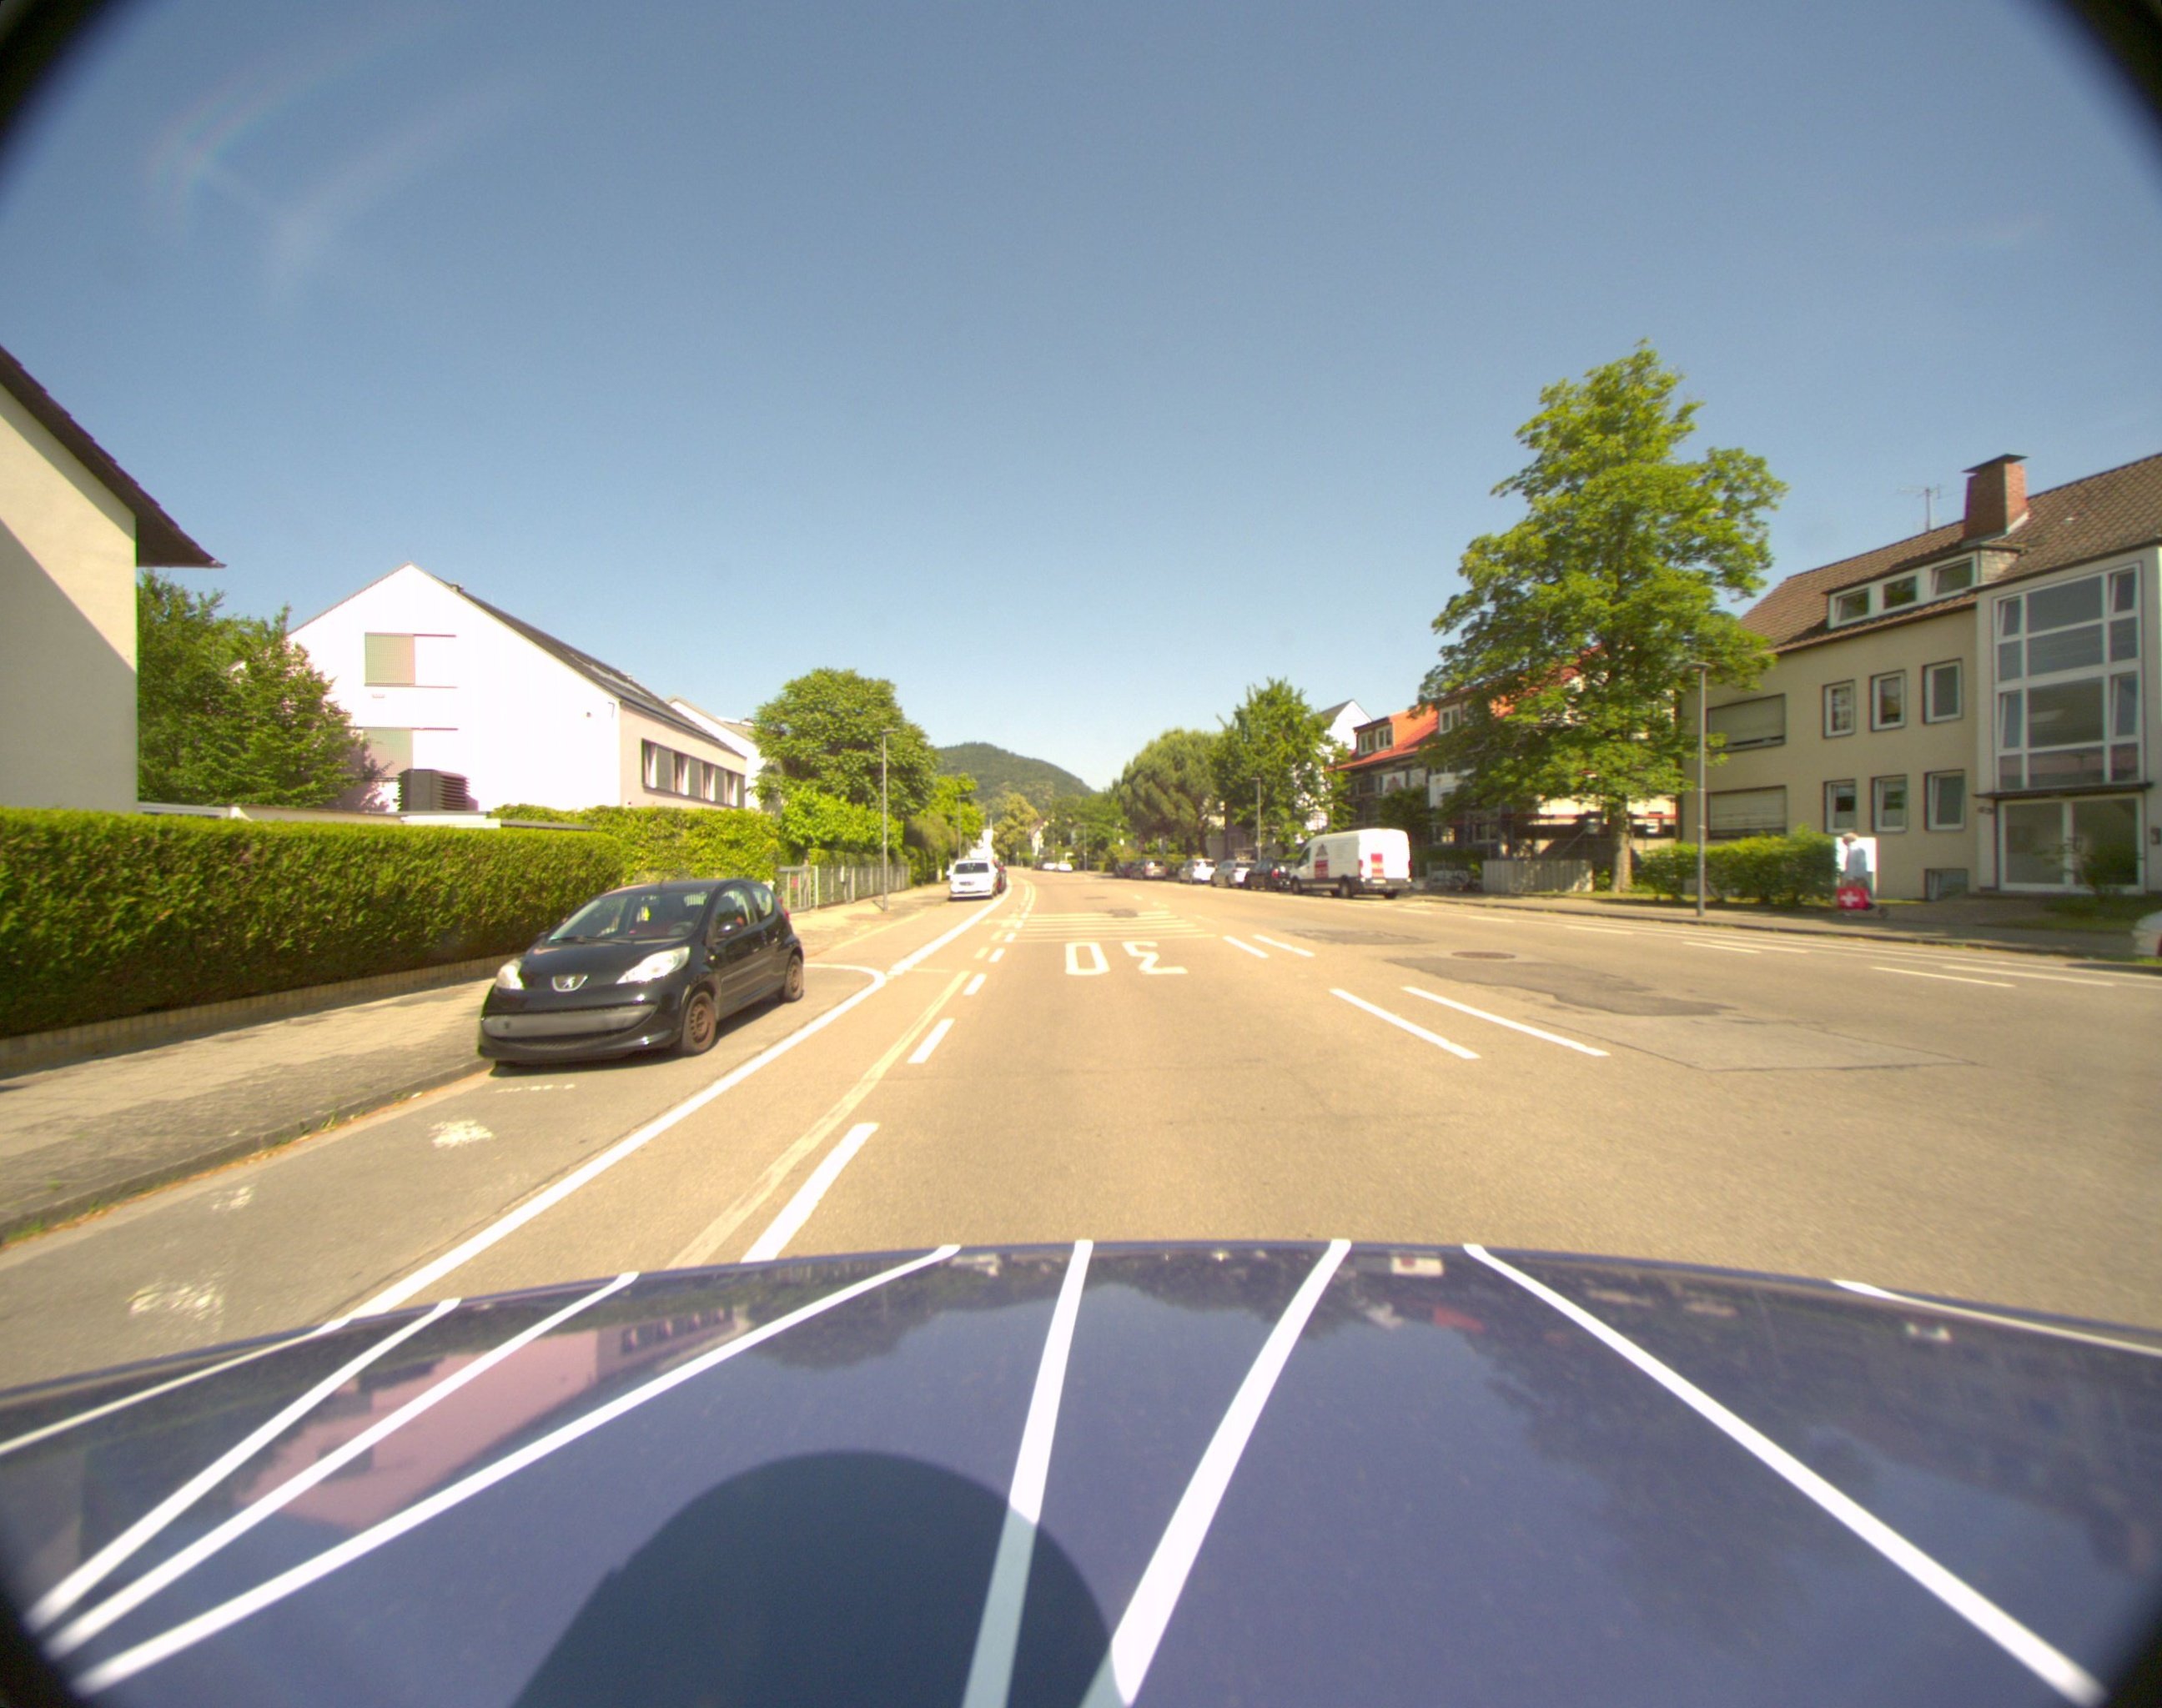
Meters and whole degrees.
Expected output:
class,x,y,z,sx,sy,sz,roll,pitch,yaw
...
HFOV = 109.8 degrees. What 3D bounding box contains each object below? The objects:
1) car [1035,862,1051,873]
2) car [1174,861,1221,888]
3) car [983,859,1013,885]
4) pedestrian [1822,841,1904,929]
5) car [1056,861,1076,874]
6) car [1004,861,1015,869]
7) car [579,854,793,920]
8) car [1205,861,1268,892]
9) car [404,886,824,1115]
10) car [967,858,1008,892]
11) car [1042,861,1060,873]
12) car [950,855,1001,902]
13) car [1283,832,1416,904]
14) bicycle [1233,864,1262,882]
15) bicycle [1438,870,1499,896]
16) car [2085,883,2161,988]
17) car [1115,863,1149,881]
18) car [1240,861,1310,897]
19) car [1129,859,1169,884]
class,x,y,z,sx,sy,sz,roll,pitch,yaw
car,-5.913,2.058,117.231,2.000,1.674,3.997,-1,-1,-9
car,7.056,1.245,46.235,1.726,1.549,3.998,0,-1,-9
car,-5.658,1.240,52.402,1.817,1.549,4.787,-3,-1,-5
pedestrian,16.283,0.636,15.842,0.976,1.769,0.725,-1,0,-5
car,-1.883,1.678,96.434,1.960,1.543,3.997,-1,0,-9
car,-15.797,2.463,167.906,2.007,1.803,4.761,0,-1,-10
car,-11.267,0.922,22.007,5.101,1.696,1.978,-1,0,-4
car,8.105,1.178,40.048,1.726,1.549,4.669,0,-1,-8
car,-4.005,1.123,7.422,1.621,1.382,3.999,-4,0,-1
car,-4.629,1.061,38.108,1.767,1.584,4.313,-1,-1,-4
car,-4.322,1.862,108.784,2.000,1.608,3.997,-1,-1,-9
car,-4.481,0.980,32.791,1.767,1.816,4.596,-3,0,-4
car,10.190,0.550,29.533,2.096,2.481,5.947,0,-1,-12
bicycle,12.545,1.442,57.301,2.179,1.375,0.502,0,-1,-13
bicycle,15.399,1.144,30.215,2.074,0.995,0.775,-1,0,-7
car,14.180,0.971,8.014,1.726,1.259,3.998,0,-1,-9
car,4.164,1.491,62.329,1.847,1.448,4.190,0,-1,-10
car,8.904,1.124,35.163,1.726,1.549,3.998,0,-1,-9
car,5.028,1.305,57.005,1.847,1.753,4.582,0,-1,-10
